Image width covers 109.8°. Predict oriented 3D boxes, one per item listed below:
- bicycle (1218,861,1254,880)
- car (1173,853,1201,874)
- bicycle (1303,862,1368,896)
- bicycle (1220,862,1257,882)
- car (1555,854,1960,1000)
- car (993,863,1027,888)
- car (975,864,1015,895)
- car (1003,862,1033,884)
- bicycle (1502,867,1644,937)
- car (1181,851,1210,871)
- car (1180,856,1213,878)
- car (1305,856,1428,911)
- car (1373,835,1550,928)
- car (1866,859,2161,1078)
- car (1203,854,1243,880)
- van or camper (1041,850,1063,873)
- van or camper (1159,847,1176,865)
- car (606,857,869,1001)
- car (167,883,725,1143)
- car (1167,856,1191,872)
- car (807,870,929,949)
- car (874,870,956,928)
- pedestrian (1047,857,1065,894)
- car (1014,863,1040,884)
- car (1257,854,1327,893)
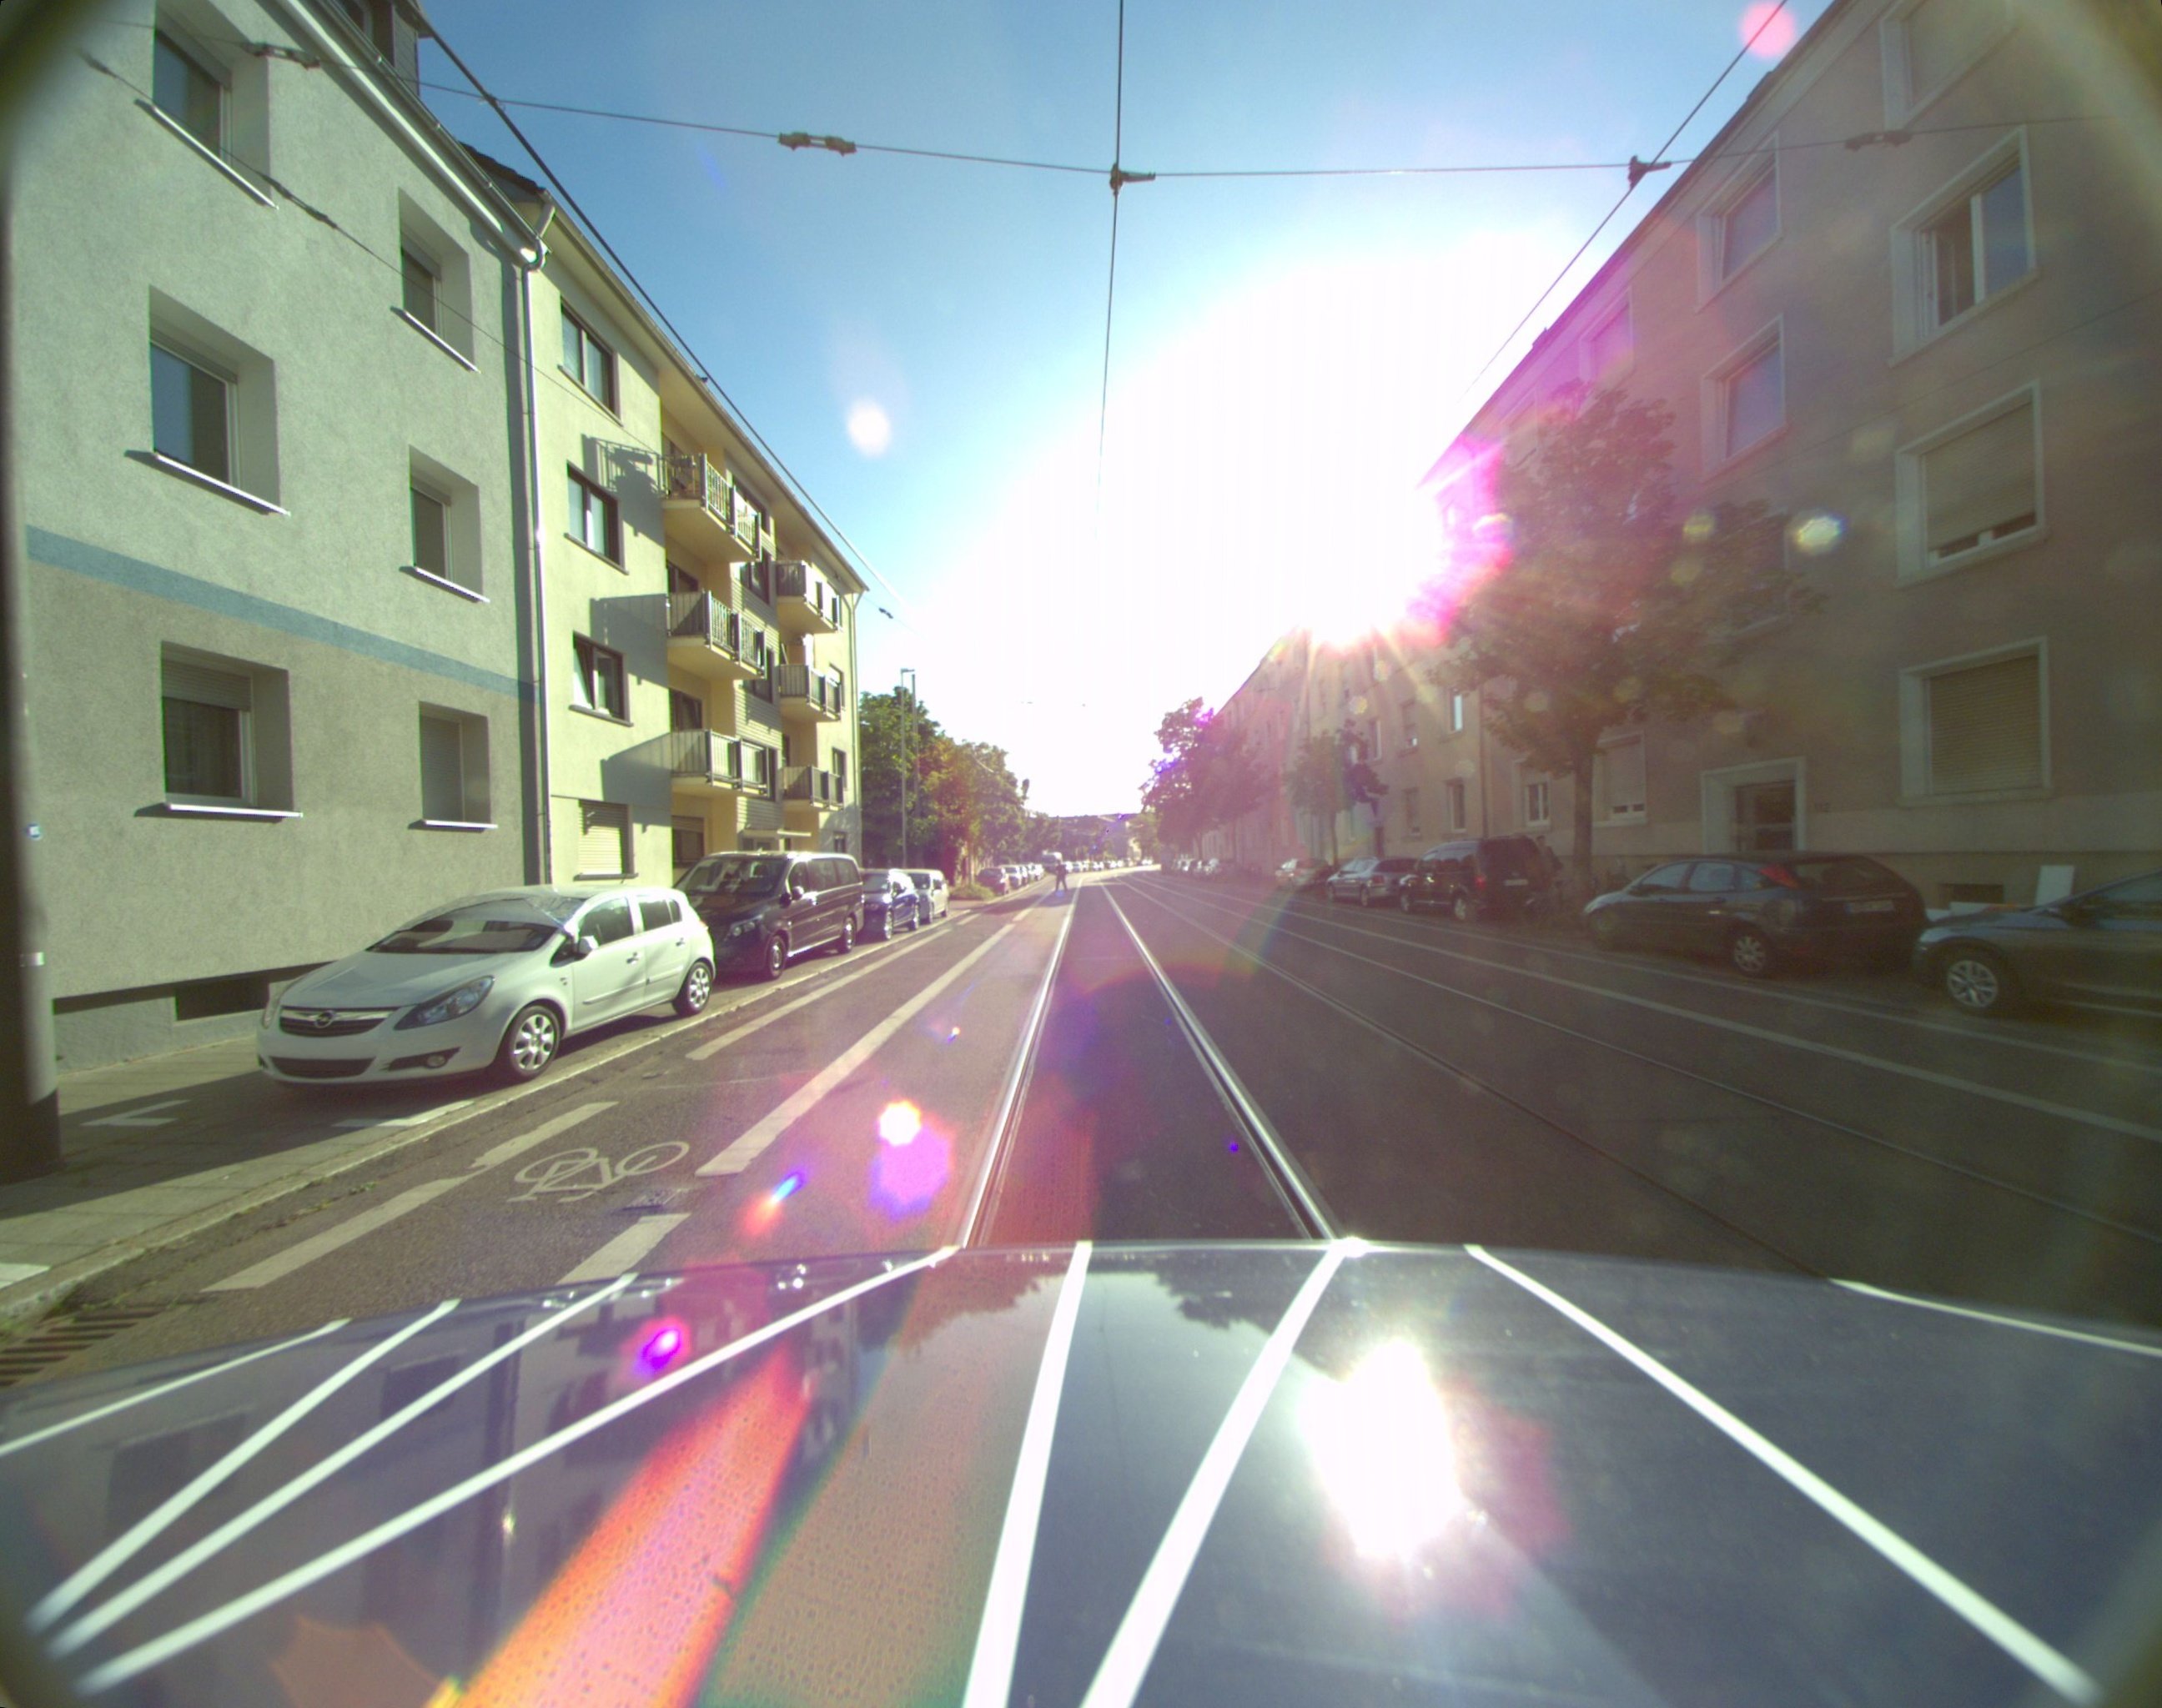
[{"bbox_3d":[9.683,1.036,47.457,2.149,1.136,0.535,-2,0,-3],"label":"bicycle"},{"bbox_3d":[9.601,0.854,69.013,1.688,1.776,4.047,-2,0,-3],"label":"car"},{"bbox_3d":[9.434,0.910,28.221,2.149,1.136,0.659,-3,0,-3],"label":"bicycle"},{"bbox_3d":[9.698,1.085,46.743,2.149,1.136,0.530,-2,0,-3],"label":"bicycle"},{"bbox_3d":[8.676,0.807,10.370,1.769,1.464,4.181,-4,0,1],"label":"car"},{"bbox_3d":[-4.701,1.384,50.947,1.828,1.561,4.478,0,0,0],"label":"car"},{"bbox_3d":[-4.576,1.323,40.958,1.612,1.561,4.478,0,0,1],"label":"car"},{"bbox_3d":[-4.608,1.394,56.337,1.828,1.561,4.478,0,0,0],"label":"car"},{"bbox_3d":[9.162,0.880,14.205,2.117,1.099,0.746,-4,0,-1],"label":"bicycle"},{"bbox_3d":[9.733,0.578,64.783,1.688,1.542,4.047,-2,0,-3],"label":"car"},{"bbox_3d":[8.584,0.917,56.803,1.688,1.542,4.047,-2,0,-3],"label":"car"},{"bbox_3d":[8.678,0.834,23.585,1.770,1.464,4.857,-2,0,-2],"label":"car"},{"bbox_3d":[8.832,0.592,18.143,1.770,1.834,4.423,-4,0,-2],"label":"car"},{"bbox_3d":[8.719,0.839,5.520,1.769,1.464,4.041,-4,0,0],"label":"car"},{"bbox_3d":[9.484,0.856,50.969,1.688,1.614,4.047,-2,0,-3],"label":"car"},{"bbox_3d":[-3.443,0.848,91.979,2.090,2.548,5.694,-2,0,3],"label":"van or camper"},{"bbox_3d":[12.134,0.256,106.867,2.074,2.399,5.500,-2,0,3],"label":"van or camper"},{"bbox_3d":[-5.255,1.007,12.575,1.934,1.910,5.004,0,0,2],"label":"car"},{"bbox_3d":[-5.082,1.119,6.938,1.805,1.561,3.904,0,0,0],"label":"car"},{"bbox_3d":[10.051,1.005,78.247,1.688,1.542,3.950,-2,0,-3],"label":"car"},{"bbox_3d":[-4.826,1.193,17.820,1.612,1.561,4.219,0,0,1],"label":"car"},{"bbox_3d":[-4.828,1.265,22.491,1.557,1.533,3.632,0,0,1],"label":"car"},{"bbox_3d":[-1.226,1.028,37.498,0.801,1.800,0.946,0,0,1],"label":"pedestrian"},{"bbox_3d":[-4.316,1.527,61.511,1.828,1.561,4.478,0,0,0],"label":"car"},{"bbox_3d":[8.969,0.778,32.647,1.769,1.464,4.753,-2,0,2],"label":"car"}]
